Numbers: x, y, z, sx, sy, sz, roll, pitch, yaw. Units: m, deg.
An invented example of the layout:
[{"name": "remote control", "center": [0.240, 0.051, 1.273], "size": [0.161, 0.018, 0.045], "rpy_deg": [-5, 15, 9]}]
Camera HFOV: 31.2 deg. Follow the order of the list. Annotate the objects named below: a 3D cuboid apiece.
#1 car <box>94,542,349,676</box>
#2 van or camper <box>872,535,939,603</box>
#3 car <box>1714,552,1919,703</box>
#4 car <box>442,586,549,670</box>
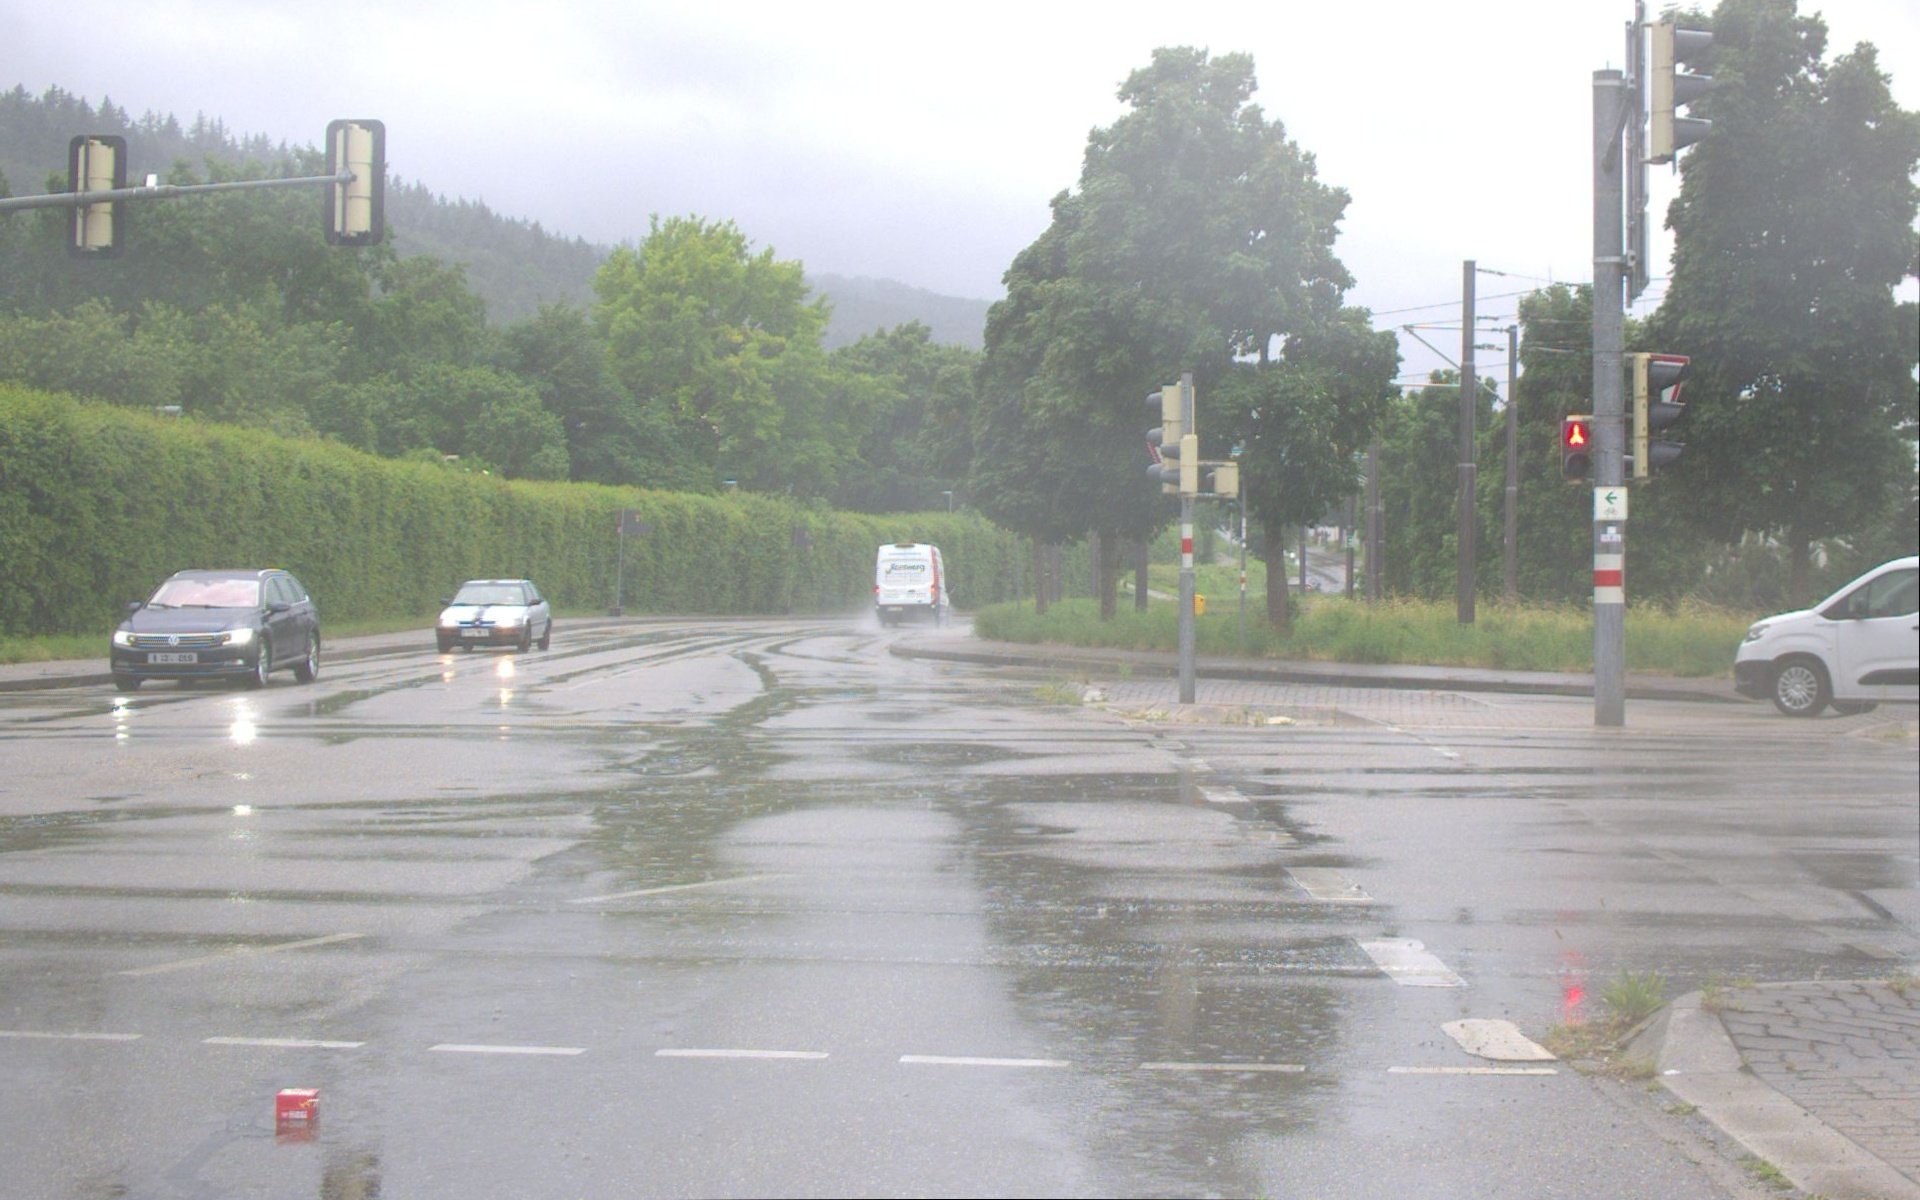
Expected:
[{"name": "car", "center": [-9.301, 0.079, 43.697], "size": [1.879, 1.568, 4.644], "rpy_deg": [-2, 1, 5]}, {"name": "van or camper", "center": [-1.772, -1.062, 113.351], "size": [2.153, 2.162, 4.865], "rpy_deg": [1, 1, 0]}, {"name": "car", "center": [10.377, 0.276, 36.328], "size": [4.342, 1.548, 1.819], "rpy_deg": [1, 1, 33]}, {"name": "car", "center": [-8.757, 0.505, 64.994], "size": [1.558, 1.476, 3.361], "rpy_deg": [1, 1, 0]}]
